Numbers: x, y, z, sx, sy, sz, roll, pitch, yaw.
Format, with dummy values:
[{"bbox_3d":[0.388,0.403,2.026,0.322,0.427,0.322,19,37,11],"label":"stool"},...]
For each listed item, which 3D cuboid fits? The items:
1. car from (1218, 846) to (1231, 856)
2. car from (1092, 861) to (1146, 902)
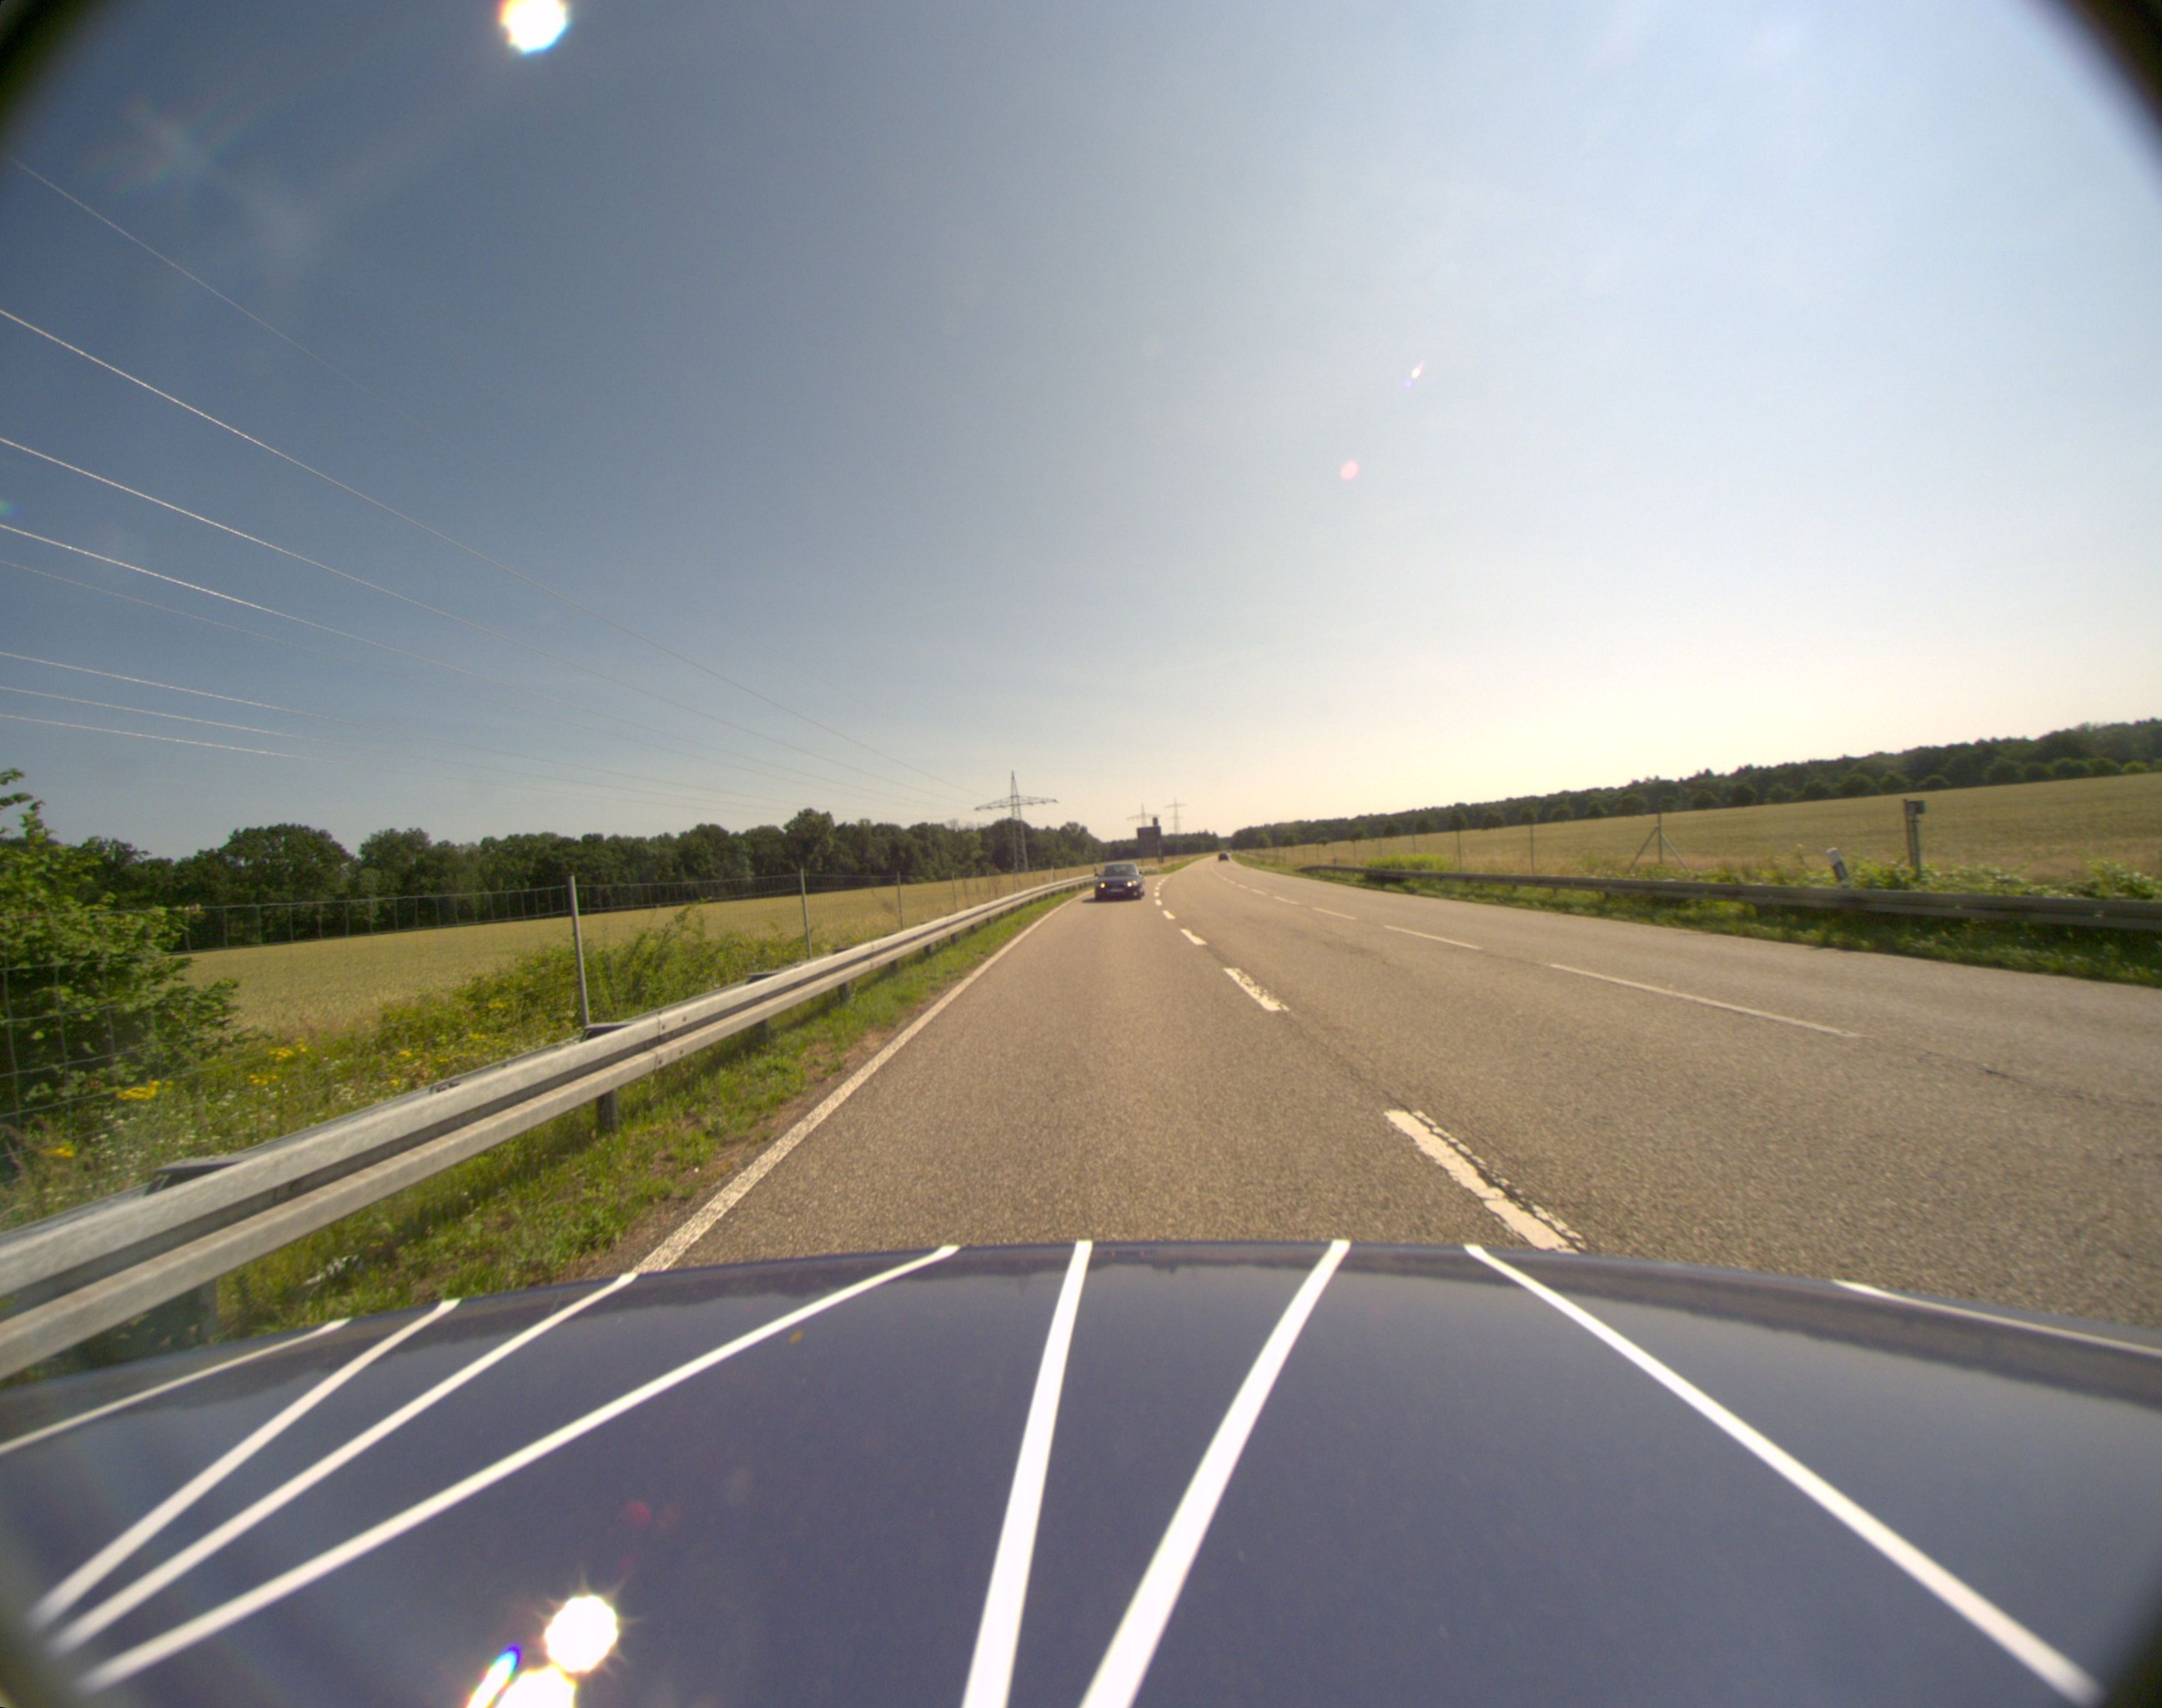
[{"bbox_3d":[24.400,-0.468,129.253,1.832,1.498,4.165,-4,0,8],"label":"car"},{"bbox_3d":[1.564,1.023,29.788,1.886,1.448,4.077,-2,0,5],"label":"car"}]
